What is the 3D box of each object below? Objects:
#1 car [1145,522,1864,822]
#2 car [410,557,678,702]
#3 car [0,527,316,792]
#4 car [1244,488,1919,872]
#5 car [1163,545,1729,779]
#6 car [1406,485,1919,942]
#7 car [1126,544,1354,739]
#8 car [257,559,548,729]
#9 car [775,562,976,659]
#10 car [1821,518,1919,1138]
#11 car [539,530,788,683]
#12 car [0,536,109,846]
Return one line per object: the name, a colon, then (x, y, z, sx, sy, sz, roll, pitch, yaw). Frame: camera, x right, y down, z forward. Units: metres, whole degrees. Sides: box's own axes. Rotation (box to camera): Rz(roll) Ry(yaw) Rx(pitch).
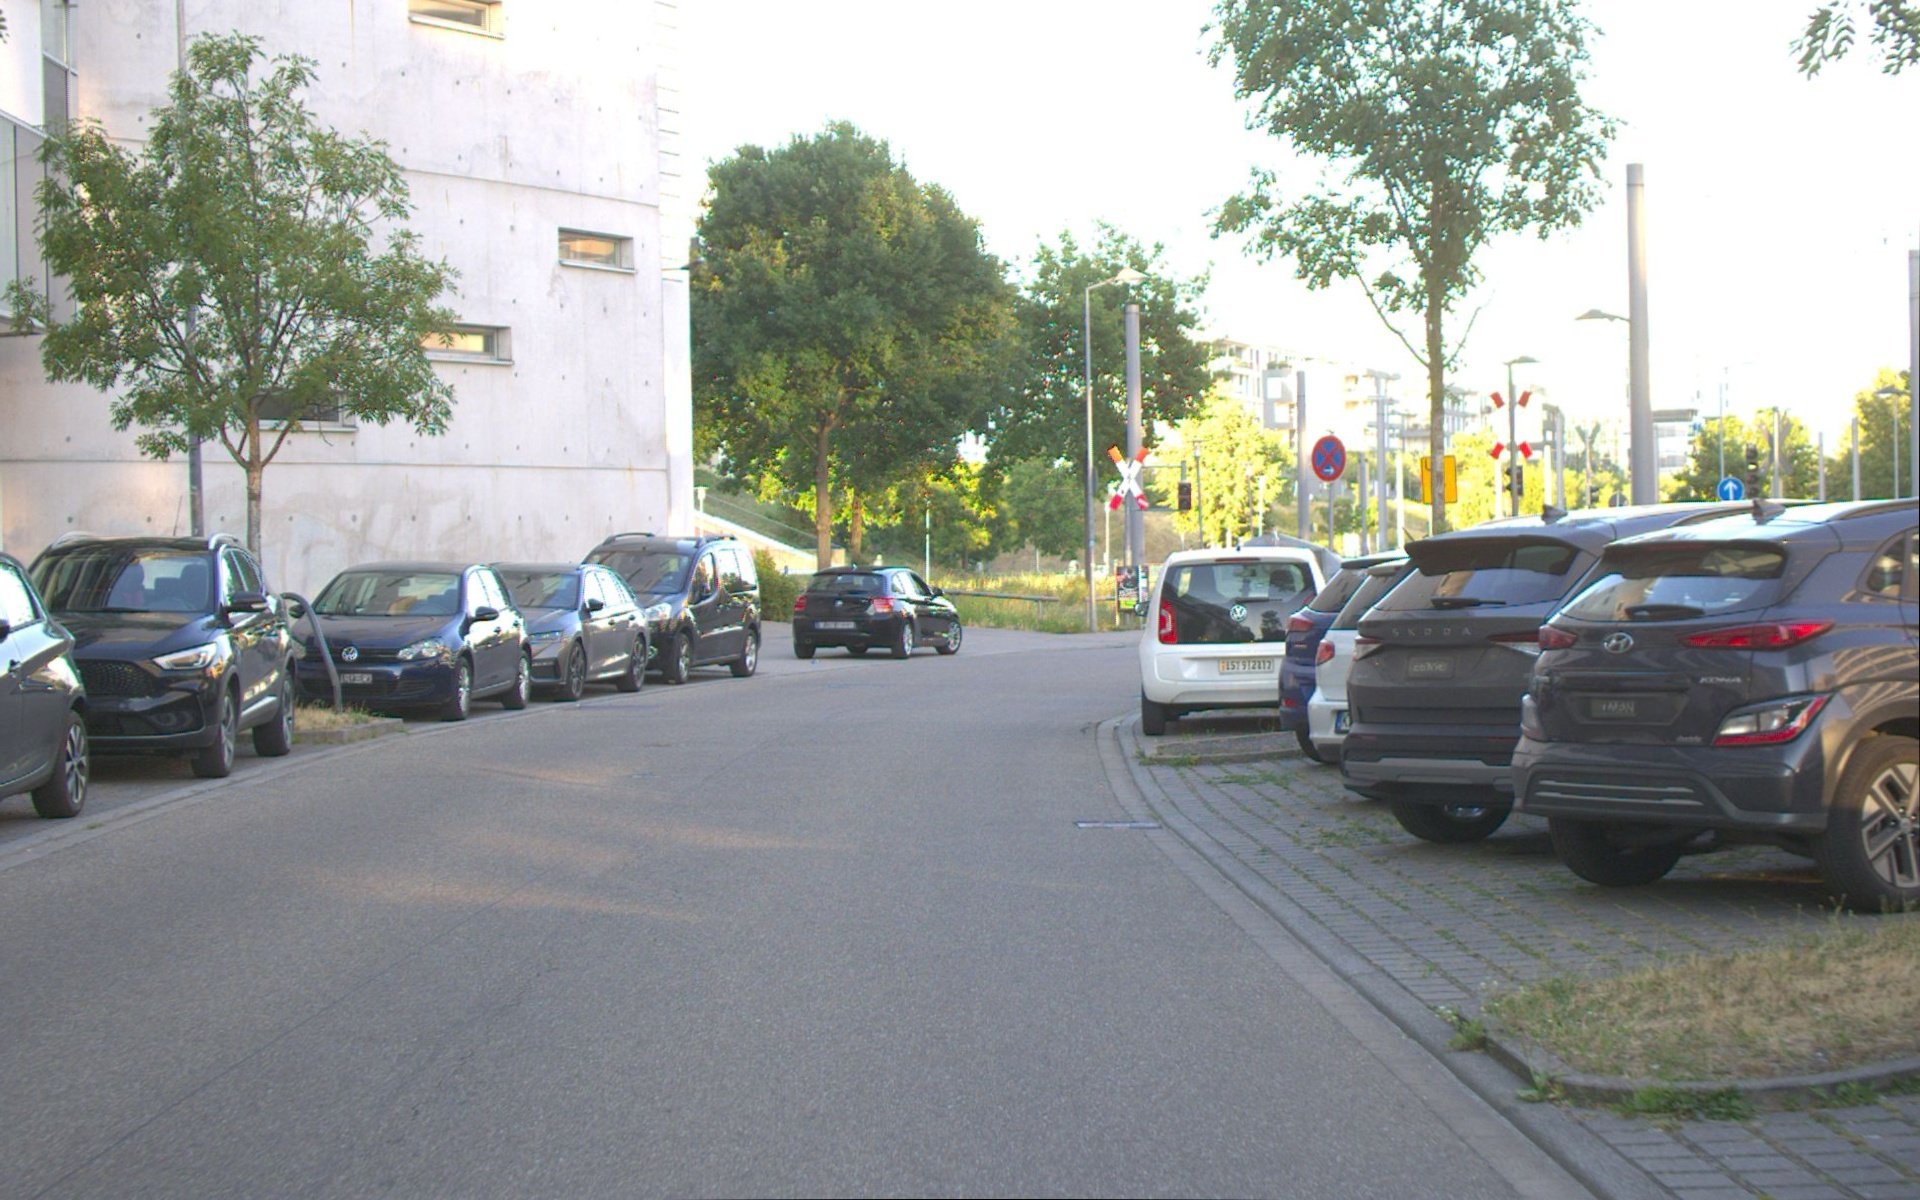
car: (3.326, 0.381, 20.878, 3.920, 1.504, 1.957, -3, 1, -31)
car: (-4.533, 0.277, 38.164, 1.723, 1.452, 4.692, 1, 1, 9)
car: (-5.625, 0.334, 23.659, 1.756, 1.648, 3.949, 1, 1, -2)
car: (3.451, 0.330, 17.150, 3.767, 1.720, 1.763, 0, 1, -34)
car: (3.428, 0.384, 24.065, 3.742, 1.504, 1.687, 0, 1, -34)
car: (4.101, 0.345, 14.329, 3.974, 1.634, 1.973, -3, 1, -29)
car: (2.382, 0.297, 28.583, 1.723, 1.462, 3.552, -2, 1, 7)
car: (-5.234, 0.364, 32.788, 1.723, 1.452, 4.271, 1, 1, 5)
car: (-1.260, 0.135, 53.401, 1.945, 1.378, 4.396, 1, 1, 15)
car: (4.096, 0.532, 8.617, 3.767, 1.437, 1.763, 0, 1, -37)
car: (-3.661, 0.039, 43.265, 1.758, 1.792, 4.460, 1, 1, 14)
car: (-5.738, 0.451, 17.699, 1.756, 1.555, 4.043, 1, 1, -1)
